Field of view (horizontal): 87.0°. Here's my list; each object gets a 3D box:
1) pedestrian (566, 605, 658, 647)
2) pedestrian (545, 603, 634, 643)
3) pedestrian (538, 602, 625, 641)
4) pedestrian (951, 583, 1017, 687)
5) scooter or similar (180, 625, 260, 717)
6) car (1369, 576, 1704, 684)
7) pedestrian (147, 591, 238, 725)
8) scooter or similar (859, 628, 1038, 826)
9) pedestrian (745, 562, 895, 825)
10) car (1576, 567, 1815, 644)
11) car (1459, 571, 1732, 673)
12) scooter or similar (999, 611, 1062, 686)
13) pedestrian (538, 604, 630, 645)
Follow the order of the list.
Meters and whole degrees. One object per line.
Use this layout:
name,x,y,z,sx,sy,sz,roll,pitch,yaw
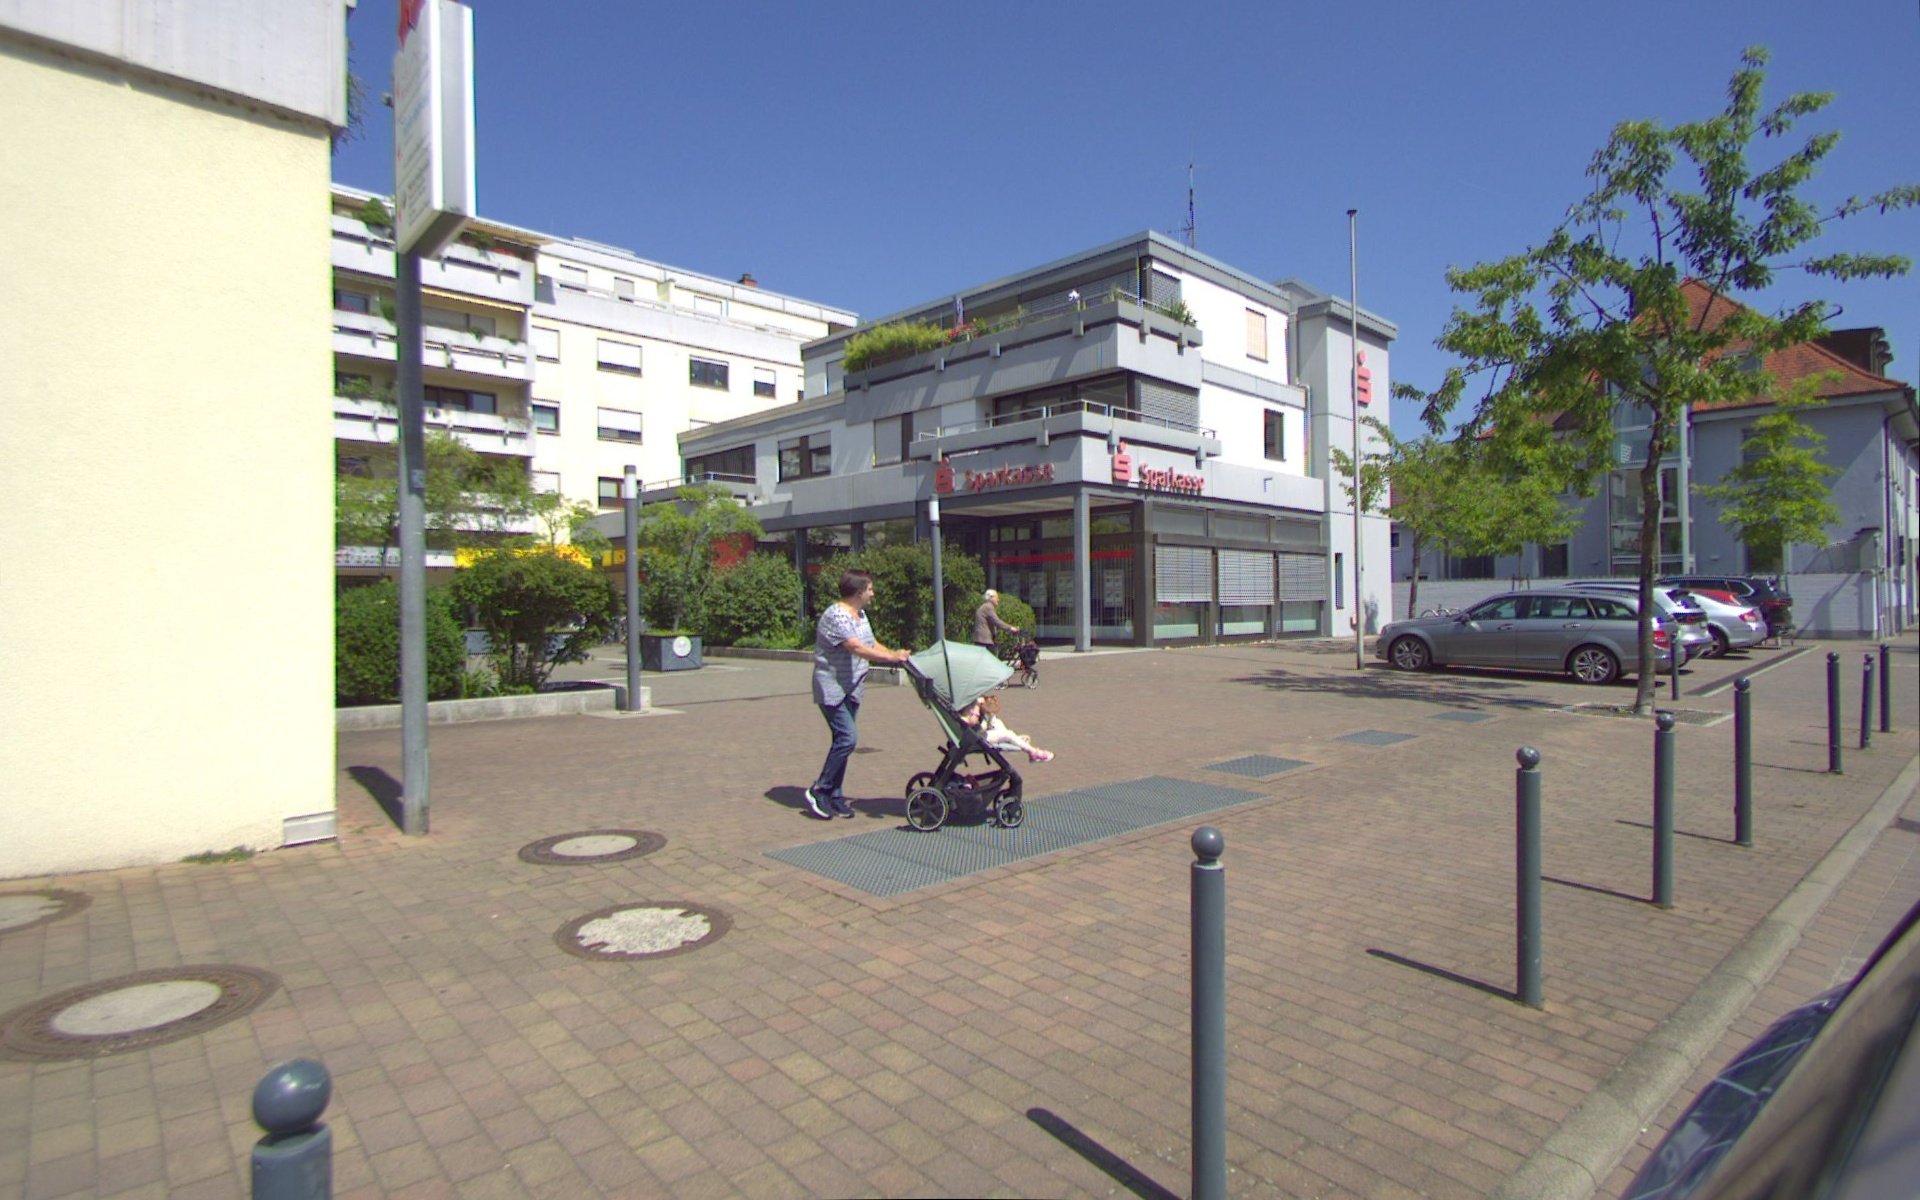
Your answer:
pedestrian,-11.330,0.816,33.087,0.982,1.290,2.736,-1,0,40
pedestrian,-12.698,0.758,34.749,0.982,1.290,2.736,-1,0,40
pedestrian,-13.215,0.726,35.423,0.982,1.290,2.736,-1,0,40
pedestrian,0.350,0.518,15.244,0.794,1.516,0.670,-1,-1,-18
scooter or similar,-9.279,0.868,12.710,0.578,1.088,0.807,-1,0,-17
car,9.518,0.381,16.961,4.575,1.531,1.887,2,2,43
pedestrian,-9.034,0.654,11.943,0.606,1.516,0.813,-1,0,-17
scooter or similar,-0.052,0.745,6.159,1.025,1.120,0.627,-1,0,4
pedestrian,-0.854,0.558,6.325,0.787,1.541,0.705,-1,-1,4
car,18.719,0.072,25.906,2.112,1.793,4.635,0,1,-43
car,11.708,0.306,18.814,3.989,1.592,1.828,3,3,45
scooter or similar,1.073,0.723,15.436,0.788,1.088,0.592,-1,0,-18
pedestrian,-12.448,0.789,33.571,0.982,1.290,2.736,-1,0,40
